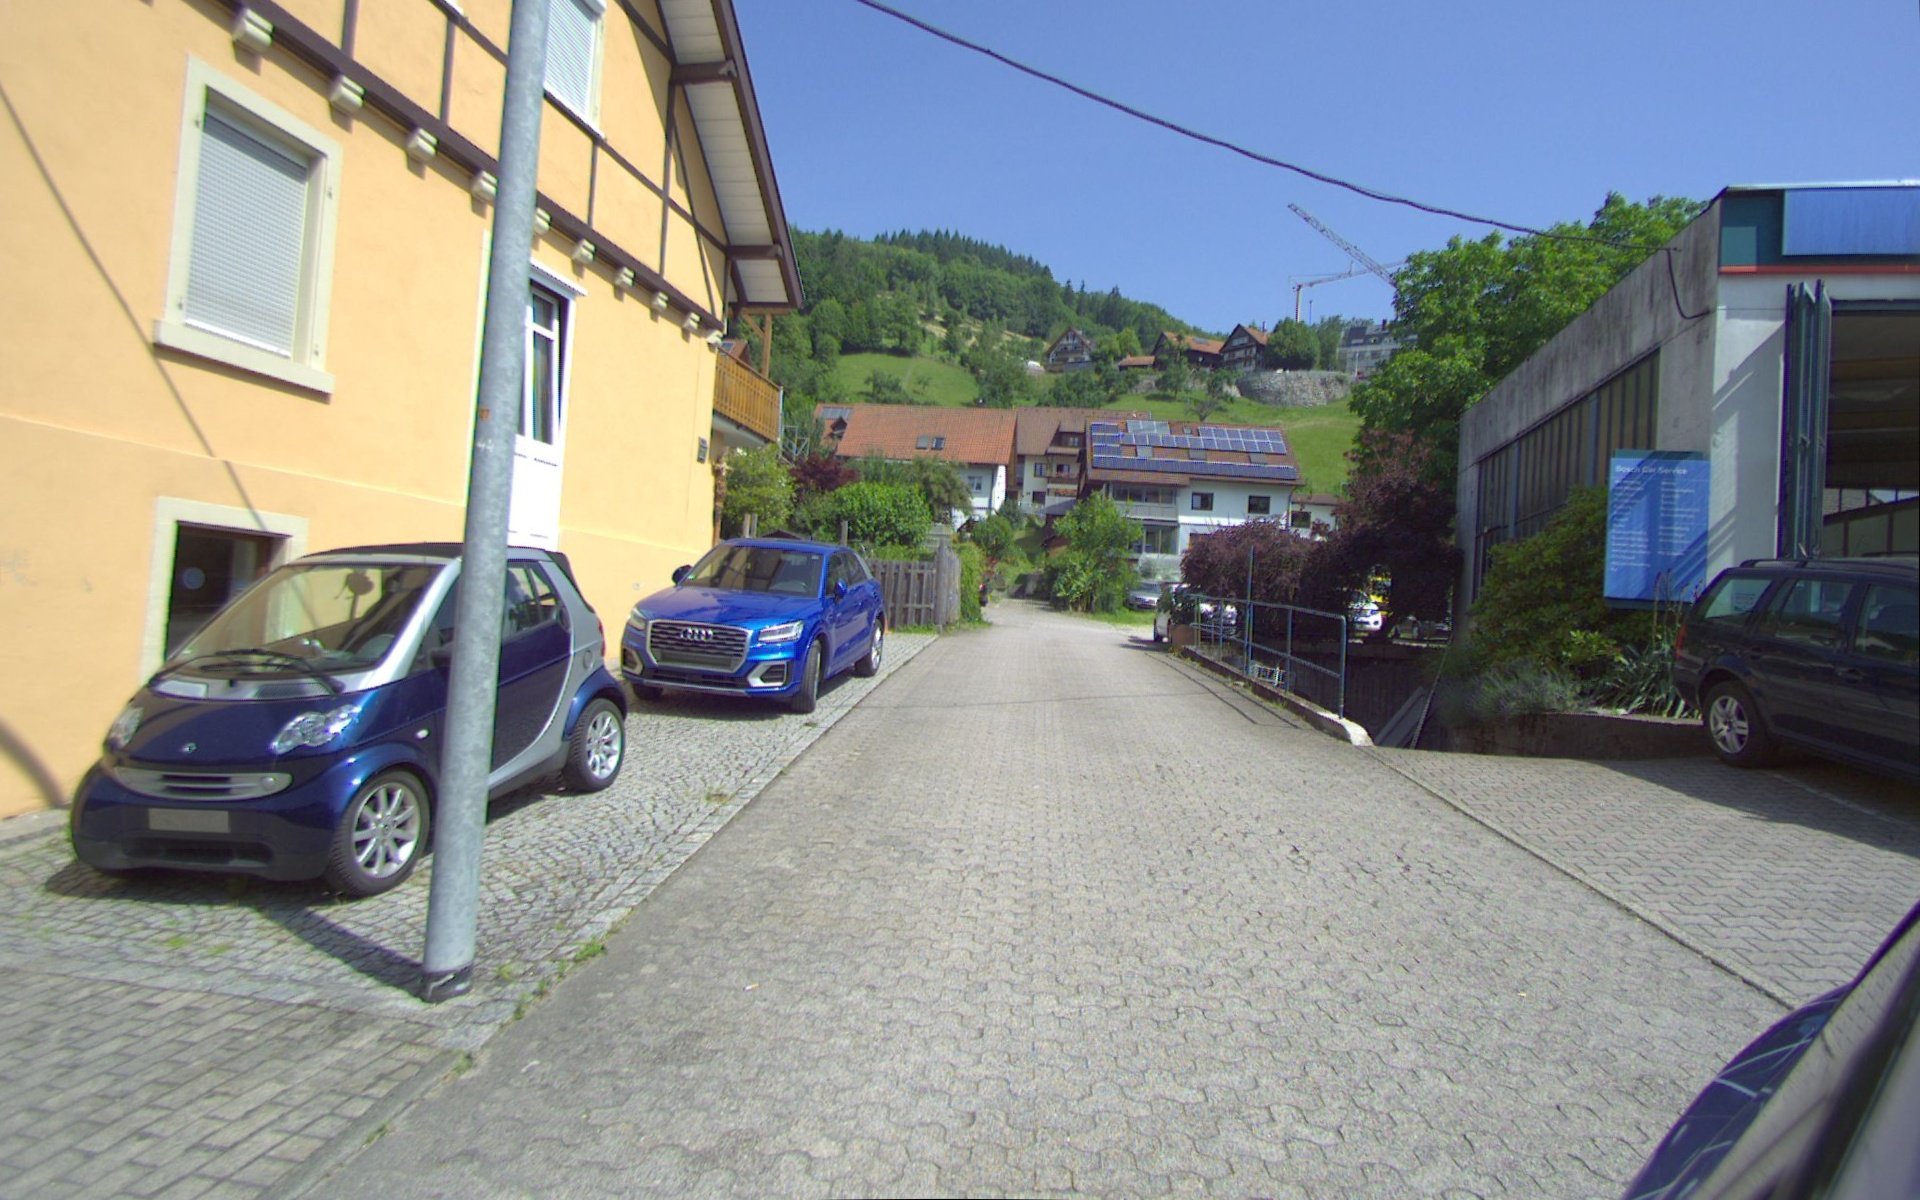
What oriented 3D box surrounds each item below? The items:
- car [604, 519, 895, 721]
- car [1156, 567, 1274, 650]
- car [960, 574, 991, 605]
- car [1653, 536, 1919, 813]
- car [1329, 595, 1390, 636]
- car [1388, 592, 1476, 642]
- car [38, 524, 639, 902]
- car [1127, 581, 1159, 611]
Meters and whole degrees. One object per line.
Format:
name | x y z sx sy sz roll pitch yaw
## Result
car | -1.919 0.108 10.455 1.706 1.645 3.927 2 2 8
car | 5.652 0.110 23.017 1.966 1.665 4.869 0 1 7
car | 0.637 -0.447 41.117 1.093 1.077 2.863 4 3 3
car | 6.346 0.403 6.057 1.768 1.564 4.325 0 2 6
car | 14.295 0.525 36.353 1.446 1.274 3.376 3 2 13
car | 16.447 0.554 35.471 1.651 1.574 3.904 0 1 7
car | -3.053 0.391 5.561 1.402 1.554 2.656 0 3 9
car | 8.704 -0.216 48.301 1.322 1.387 3.207 0 1 8
